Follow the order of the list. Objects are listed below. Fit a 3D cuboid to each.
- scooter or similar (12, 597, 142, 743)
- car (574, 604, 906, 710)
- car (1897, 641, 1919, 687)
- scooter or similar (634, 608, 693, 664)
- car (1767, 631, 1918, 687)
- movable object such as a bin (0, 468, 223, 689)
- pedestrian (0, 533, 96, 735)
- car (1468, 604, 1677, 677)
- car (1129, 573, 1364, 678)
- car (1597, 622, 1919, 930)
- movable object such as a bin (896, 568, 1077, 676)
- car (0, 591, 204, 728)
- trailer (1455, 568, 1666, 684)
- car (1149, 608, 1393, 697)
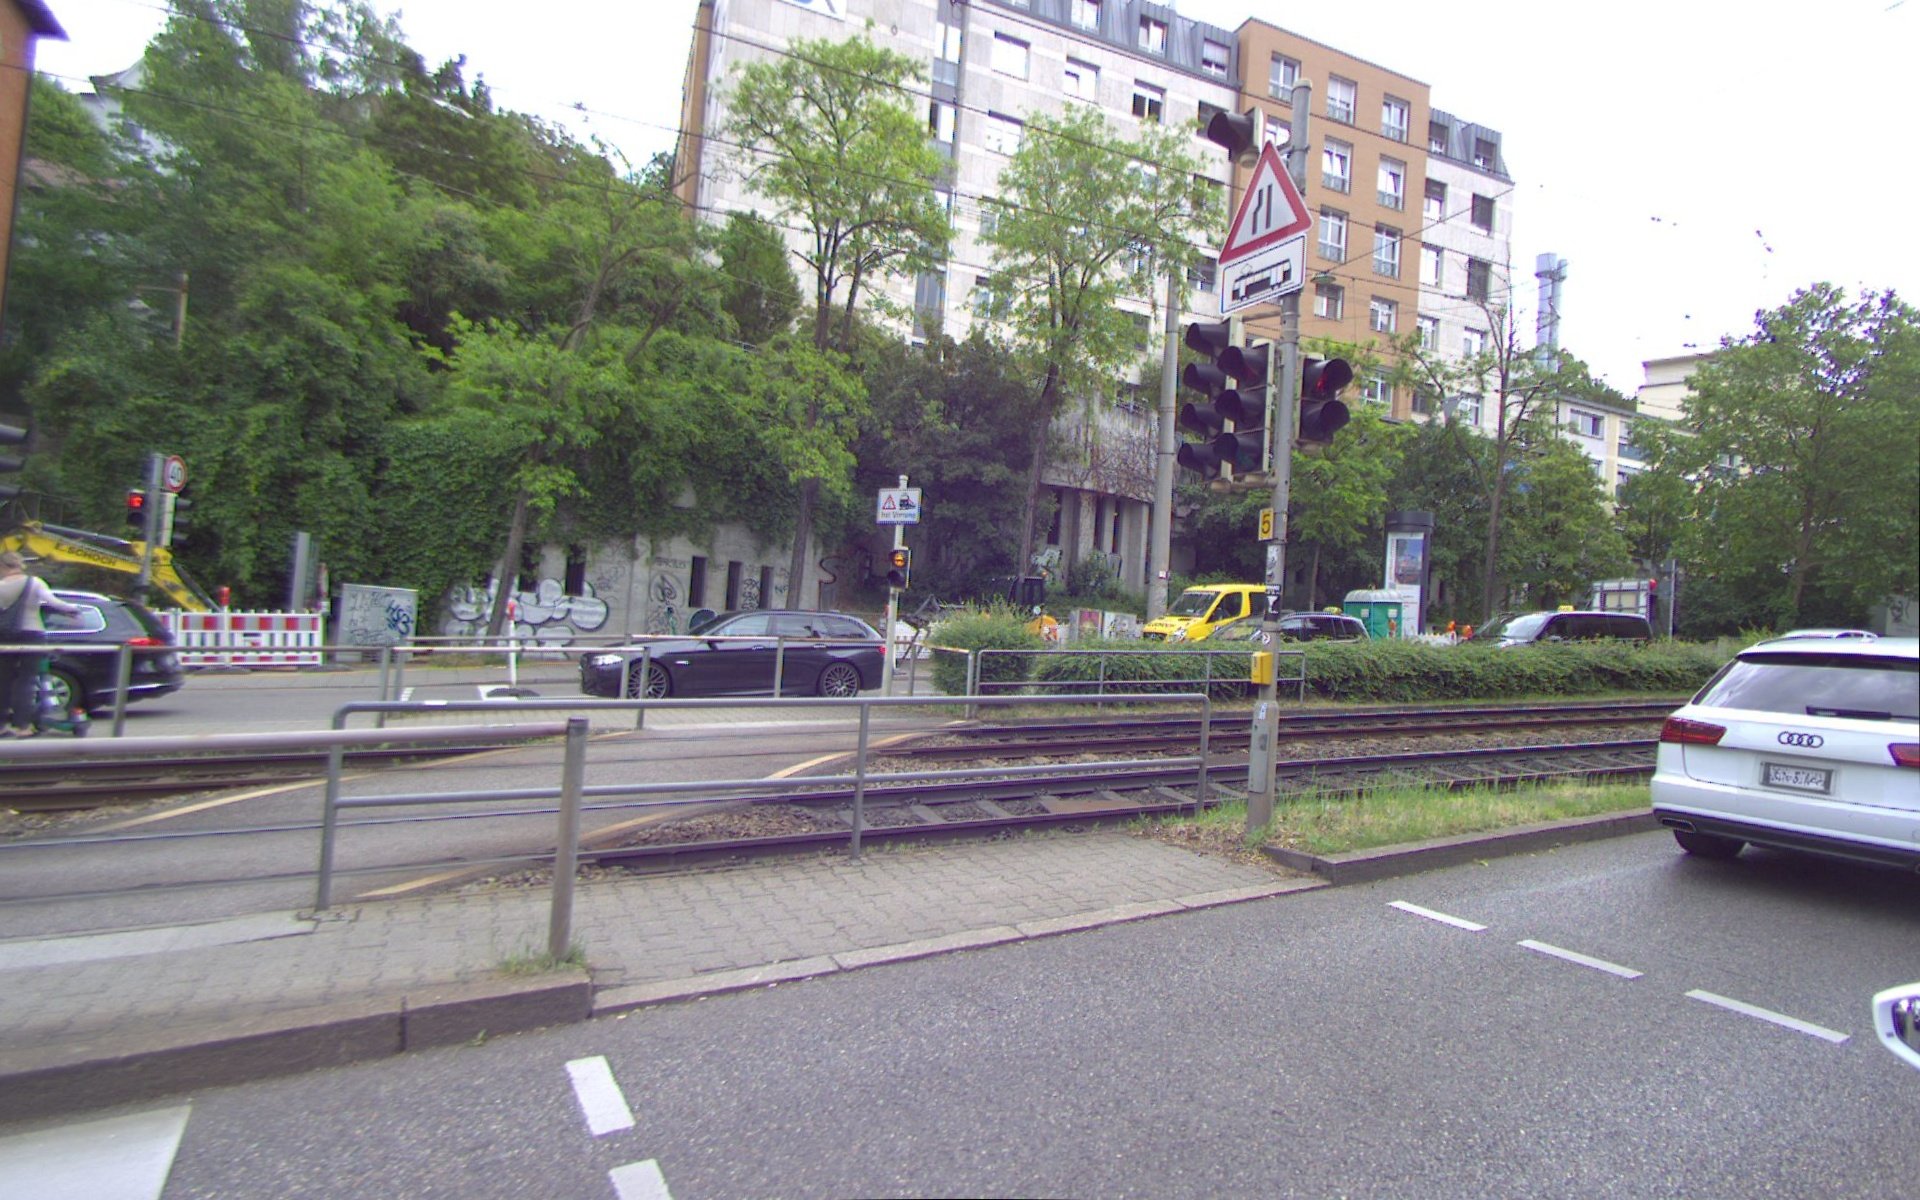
[{"bbox_3d":[-8.522,0.642,9.683,1.473,1.313,0.532,0,-2,33],"label":"scooter or similar"},{"bbox_3d":[-3.399,0.911,15.701,4.779,1.454,1.877,2,-3,-25],"label":"car"},{"bbox_3d":[31.730,2.042,31.696,4.026,1.426,1.762,2,-2,-24],"label":"car"},{"bbox_3d":[-6.983,0.844,23.681,1.281,1.307,0.424,1,-1,-38],"label":"scooter or similar"},{"bbox_3d":[24.494,1.625,27.889,3.684,1.462,1.656,2,-2,-21],"label":"car"},{"bbox_3d":[-16.706,-0.342,17.166,6.492,3.595,2.725,2,-2,-38],"label":"movable object such as a bin"},{"bbox_3d":[-8.866,0.329,9.591,0.730,1.841,0.789,-1,-3,40],"label":"pedestrian"},{"bbox_3d":[14.670,0.980,24.064,4.543,1.626,1.990,2,-2,-22],"label":"car"},{"bbox_3d":[7.843,0.756,27.396,6.247,2.628,2.151,2,-2,-24],"label":"car"},{"bbox_3d":[6.317,0.938,6.547,4.566,1.474,1.869,2,-1,-32],"label":"car"},{"bbox_3d":[0.650,0.539,24.902,4.040,2.501,1.928,1,1,-24],"label":"movable object such as a bin"},{"bbox_3d":[-11.212,0.641,11.413,3.954,1.481,1.770,2,-2,-31],"label":"car"},{"bbox_3d":[16.895,0.753,28.263,5.504,3.013,2.017,2,0,-20],"label":"trailer"},{"bbox_3d":[6.246,1.034,20.134,4.558,1.626,1.987,2,-2,-26],"label":"car"}]
